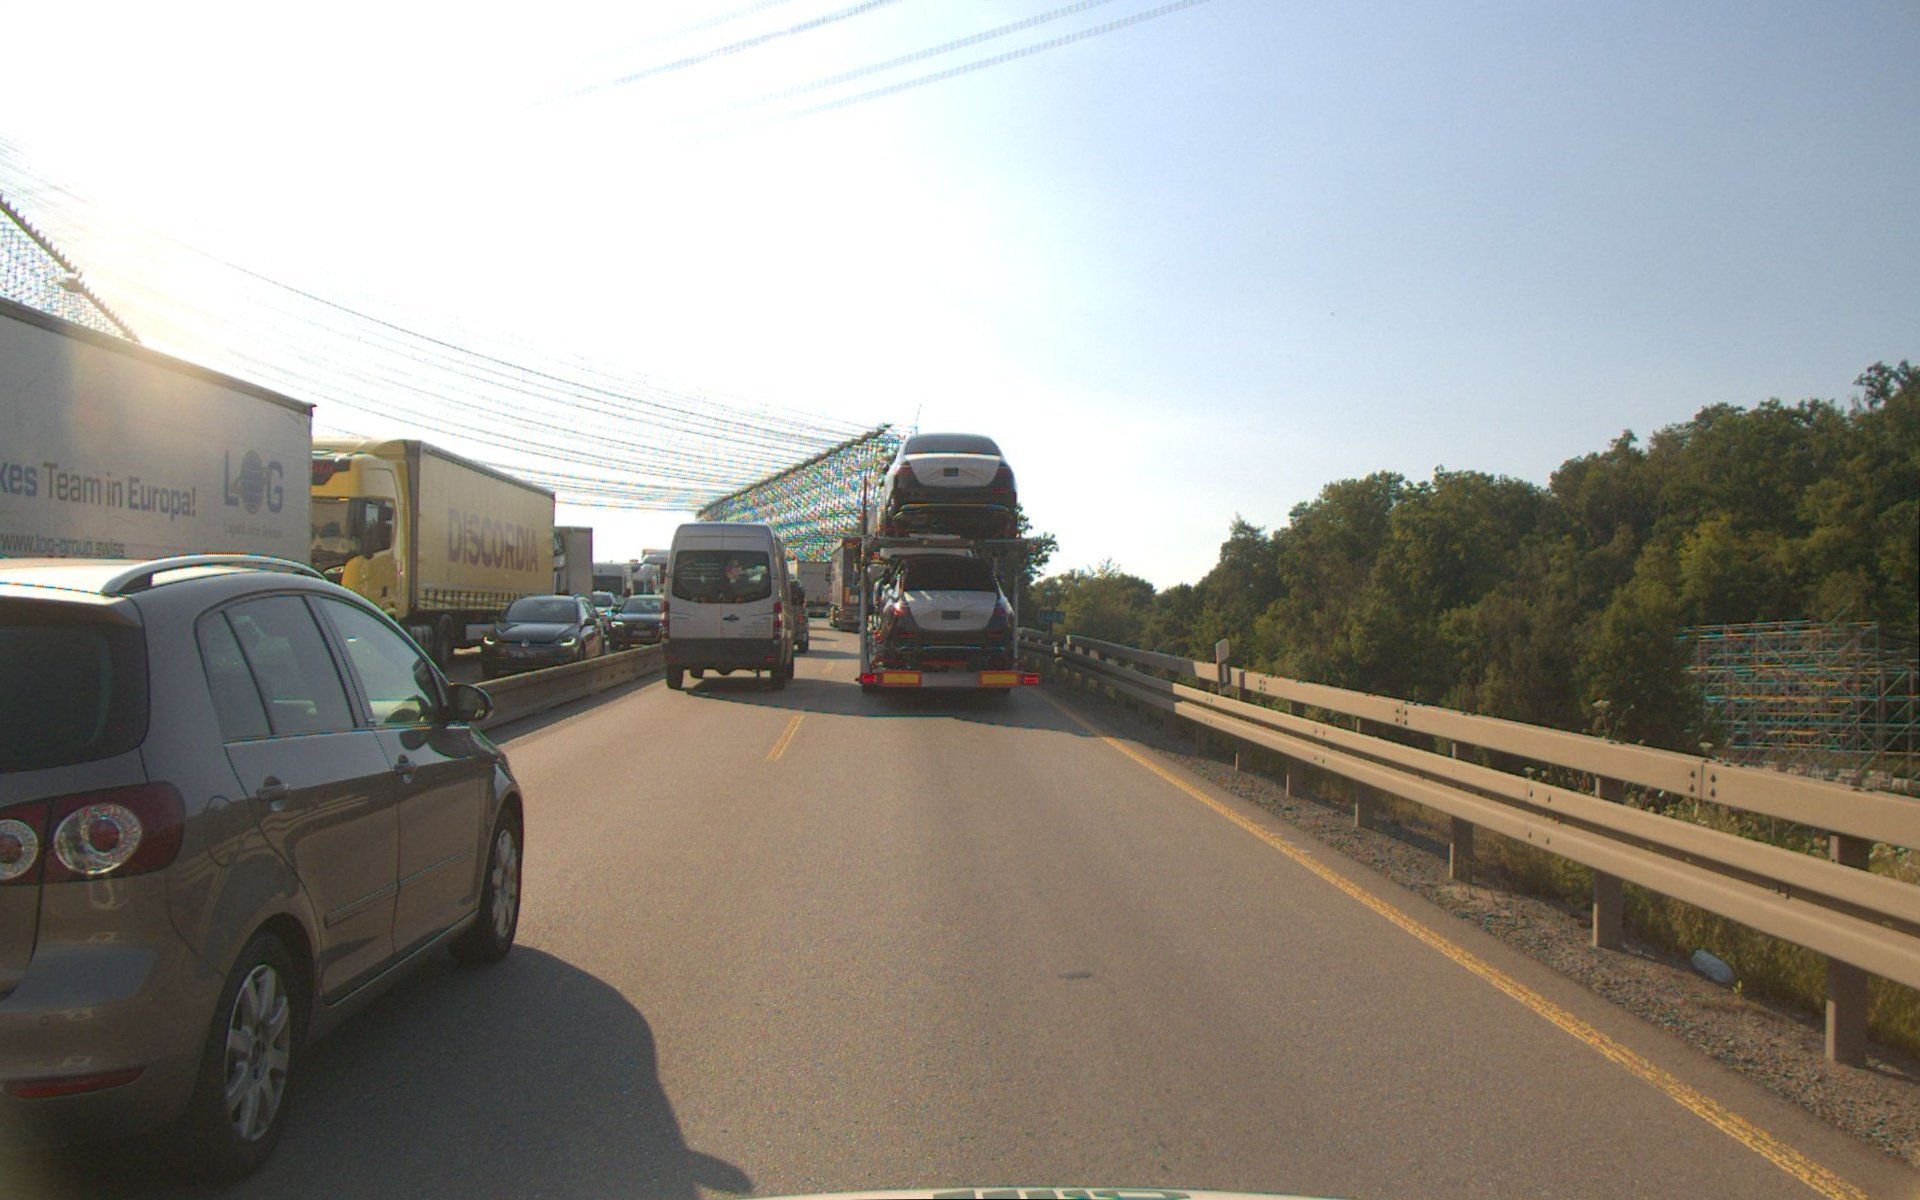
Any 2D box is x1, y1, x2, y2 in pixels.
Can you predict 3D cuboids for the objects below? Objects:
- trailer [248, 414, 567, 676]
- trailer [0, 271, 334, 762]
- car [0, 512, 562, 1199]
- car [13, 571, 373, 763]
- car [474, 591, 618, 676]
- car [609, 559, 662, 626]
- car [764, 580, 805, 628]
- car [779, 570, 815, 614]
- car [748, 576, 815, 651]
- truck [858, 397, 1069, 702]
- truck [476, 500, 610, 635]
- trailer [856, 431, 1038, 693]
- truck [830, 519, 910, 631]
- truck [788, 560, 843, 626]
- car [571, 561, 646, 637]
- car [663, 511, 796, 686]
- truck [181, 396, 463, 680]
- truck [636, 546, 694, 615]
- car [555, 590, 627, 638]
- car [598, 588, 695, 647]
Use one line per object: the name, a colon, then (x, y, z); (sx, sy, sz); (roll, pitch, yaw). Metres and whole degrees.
trailer: (-11.132, -0.775, 35.470); (2.836, 4.471, 14.367); (0, -1, -4)
trailer: (-9.767, -0.683, 16.956); (2.403, 4.341, 12.140); (0, -1, -2)
car: (-2.567, 0.672, 5.443); (1.667, 1.615, 4.144); (0, -1, -3)
car: (-6.833, 0.532, 15.190); (1.637, 1.533, 3.845); (1, 0, -3)
car: (-7.650, 0.630, 30.977); (1.719, 1.475, 4.531); (0, -1, -3)
car: (-14.078, -0.314, 71.951); (1.635, 2.813, 4.955); (1, 0, -5)
car: (-7.674, 0.190, 72.530); (1.635, 2.019, 3.814); (0, -1, -5)
car: (-7.938, -0.356, 80.707); (1.635, 2.019, 3.814); (0, -1, -5)
car: (-4.971, 0.402, 46.487); (1.635, 2.019, 3.815); (0, -1, -3)
truck: (-0.127, -0.608, 24.934); (2.813, 4.050, 5.766); (0, -1, -4)
truck: (-11.992, -0.784, 48.202); (2.311, 3.593, 7.692); (0, -1, -3)
trailer: (-0.669, -0.411, 33.263); (2.818, 4.064, 15.266); (0, -1, -4)
truck: (-4.295, -1.100, 76.354); (3.165, 4.759, 11.681); (1, 0, -5)
truck: (-11.095, -0.509, 126.120); (3.580, 4.759, 11.674); (1, 0, -8)
car: (-13.576, 0.015, 64.149); (2.086, 2.798, 5.499); (0, -1, -4)
car: (-3.795, 0.028, 27.872); (1.940, 2.732, 4.142); (0, -1, -4)
truck: (-10.647, -0.878, 28.267); (2.836, 4.347, 5.766); (0, -1, -4)
truck: (-18.211, -1.155, 102.577); (2.589, 4.065, 9.021); (1, 0, -5)
car: (-12.223, 0.493, 55.042); (1.773, 1.557, 4.043); (0, -1, -5)
car: (-8.678, 0.521, 46.135); (1.953, 1.557, 4.723); (0, -1, -2)
